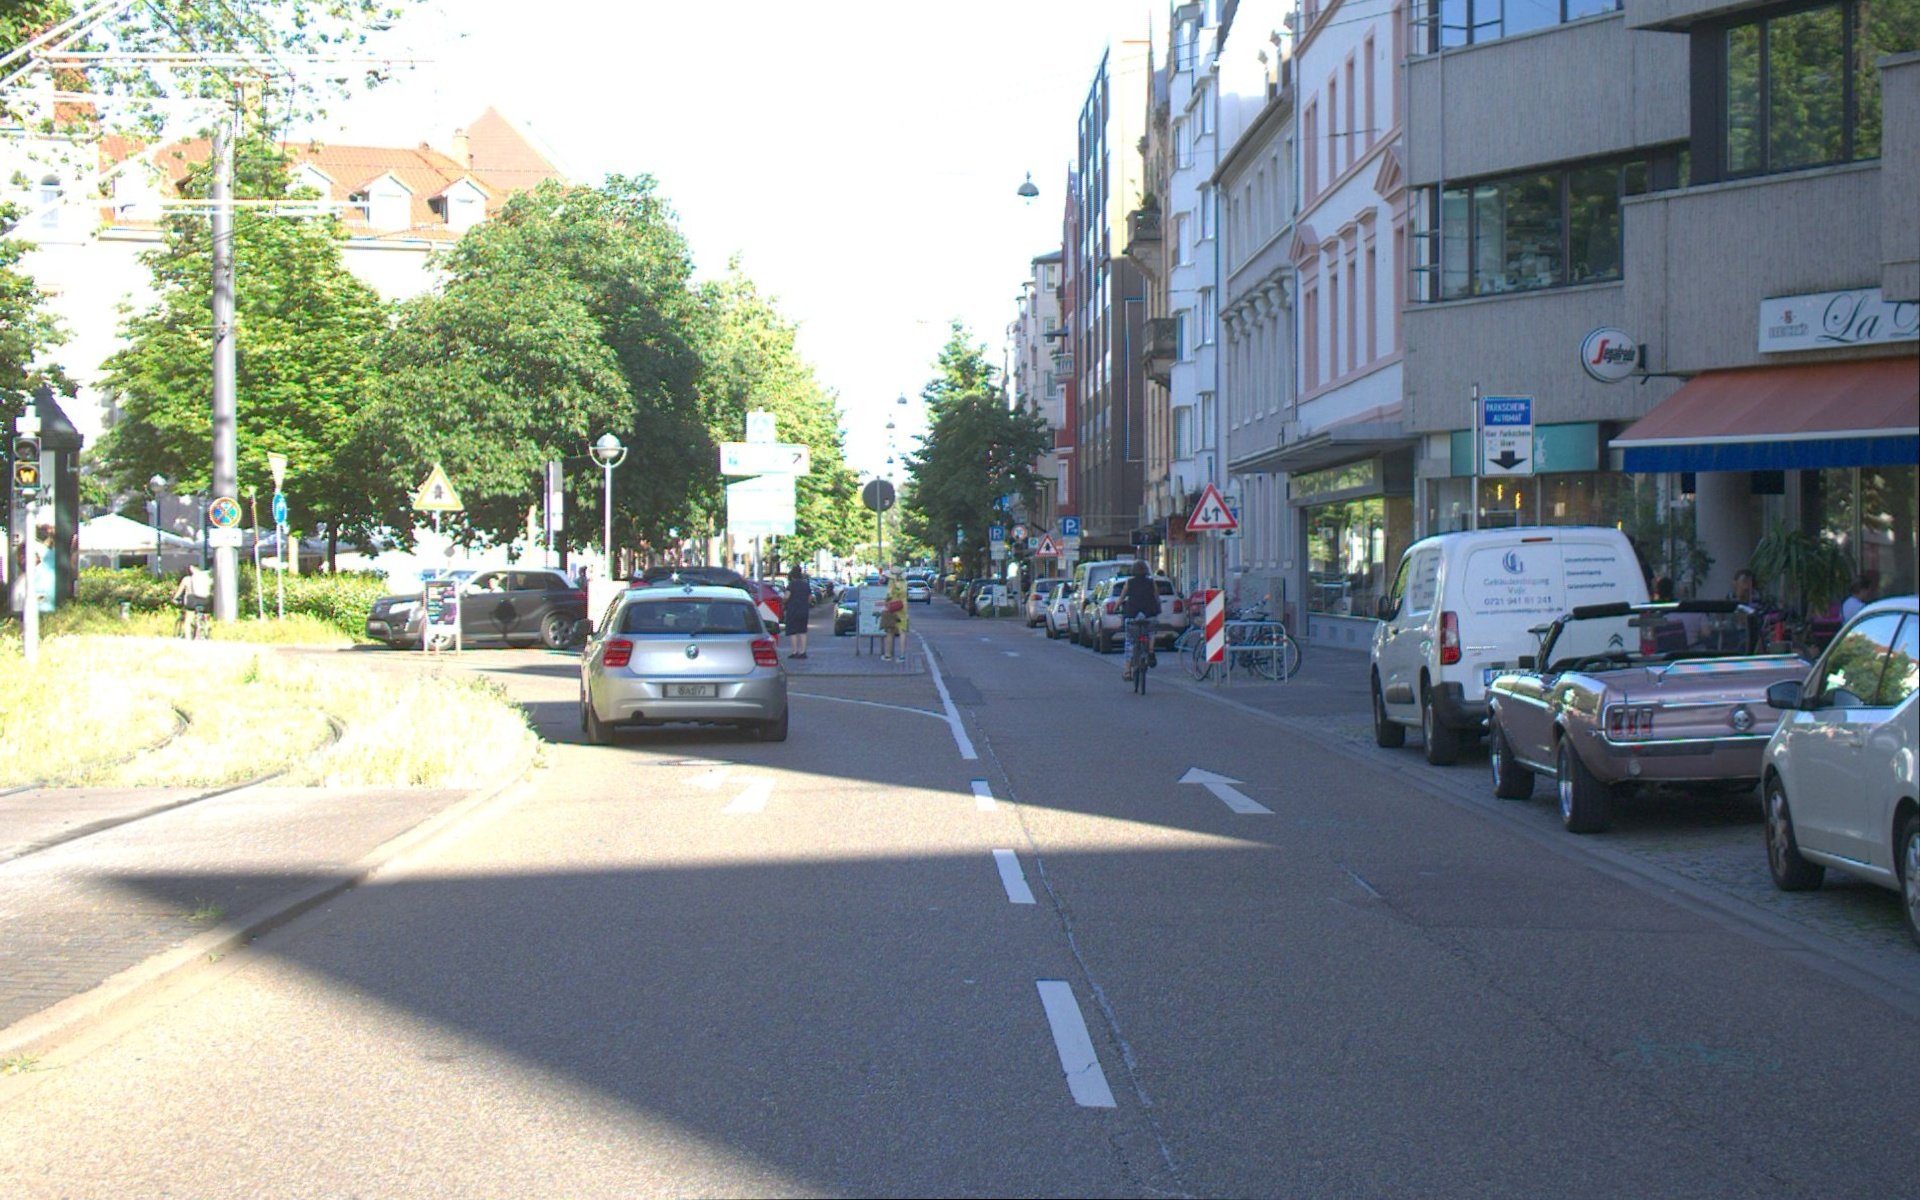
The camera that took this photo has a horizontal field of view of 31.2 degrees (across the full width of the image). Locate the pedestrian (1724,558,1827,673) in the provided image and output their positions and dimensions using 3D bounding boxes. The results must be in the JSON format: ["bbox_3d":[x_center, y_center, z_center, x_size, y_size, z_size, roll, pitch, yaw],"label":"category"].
[{"bbox_3d":[9.347,0.174,39.421,0.841,1.288,0.831,-1,0,-13],"label":"pedestrian"}]

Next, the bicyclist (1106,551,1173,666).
[{"bbox_3d":[2.304,0.115,44.175,0.786,1.448,1.095,2,-1,1],"label":"bicyclist"}]

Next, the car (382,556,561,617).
[{"bbox_3d":[-15.763,-0.413,111.091,5.262,1.794,2.164,2,-1,-27],"label":"car"}]

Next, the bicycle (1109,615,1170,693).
[{"bbox_3d":[2.303,0.692,44.363,0.652,0.955,2.698,2,-1,1],"label":"bicycle"}]

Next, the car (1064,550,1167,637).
[{"bbox_3d":[3.678,-0.163,81.980,1.993,1.998,5.118,0,0,-2],"label":"car"}]

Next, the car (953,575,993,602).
[{"bbox_3d":[0.689,-0.629,186.286,1.993,1.448,4.000,1,0,-1],"label":"car"}]

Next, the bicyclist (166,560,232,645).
[{"bbox_3d":[-13.651,0.044,61.665,0.928,1.502,0.825,2,-1,-28],"label":"bicyclist"}]

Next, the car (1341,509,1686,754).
[{"bbox_3d":[4.435,0.263,28.199,1.993,1.806,4.309,2,-1,-1],"label":"car"}]

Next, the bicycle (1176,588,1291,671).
[{"bbox_3d":[4.162,0.445,52.261,1.623,1.239,0.658,0,-1,19],"label":"bicycle"}]

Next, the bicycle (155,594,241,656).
[{"bbox_3d":[-13.690,0.444,61.697,0.809,1.065,2.583,2,-1,-28],"label":"bicycle"}]

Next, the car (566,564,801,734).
[{"bbox_3d":[-2.600,0.446,31.931,1.993,1.418,4.197,2,-1,-6],"label":"car"}]

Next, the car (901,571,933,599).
[{"bbox_3d":[-2.592,-0.912,208.898,1.870,1.550,4.000,2,-1,0],"label":"car"}]

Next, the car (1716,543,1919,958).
[{"bbox_3d":[4.793,0.647,15.357,1.851,1.683,3.867,2,-1,-1],"label":"car"}]

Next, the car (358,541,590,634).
[{"bbox_3d":[-9.015,-0.220,63.805,3.858,1.676,1.812,0,0,-30],"label":"car"}]

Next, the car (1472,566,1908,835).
[{"bbox_3d":[4.416,0.587,21.509,1.774,1.449,4.730,2,-1,1],"label":"car"}]

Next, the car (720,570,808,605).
[{"bbox_3d":[-9.239,-0.581,162.399,3.987,1.503,1.894,2,0,0],"label":"car"}]

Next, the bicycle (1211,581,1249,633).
[{"bbox_3d":[6.366,0.163,80.968,0.483,1.182,1.718,-2,-2,17],"label":"bicycle"}]

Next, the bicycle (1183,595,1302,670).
[{"bbox_3d":[4.149,0.480,50.432,1.680,1.058,0.343,1,-1,15],"label":"bicycle"}]

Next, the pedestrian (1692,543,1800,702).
[{"bbox_3d":[8.596,0.241,37.601,0.841,1.704,0.720,-2,1,-29],"label":"pedestrian"}]

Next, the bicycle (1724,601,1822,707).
[{"bbox_3d":[8.194,0.540,34.708,0.563,1.031,1.644,2,-1,0],"label":"bicycle"}]

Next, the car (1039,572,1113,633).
[{"bbox_3d":[3.068,0.081,91.398,1.718,1.510,3.583,-2,-1,-1],"label":"car"}]

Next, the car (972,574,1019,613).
[{"bbox_3d":[1.592,-0.287,153.923,1.993,1.612,4.010,2,-1,1],"label":"car"}]

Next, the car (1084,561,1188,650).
[{"bbox_3d":[3.615,0.132,71.382,1.745,1.733,4.960,2,-1,-1],"label":"car"}]

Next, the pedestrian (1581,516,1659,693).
[{"bbox_3d":[7.038,0.053,36.698,0.671,1.850,0.610,-2,-1,2],"label":"pedestrian"}]

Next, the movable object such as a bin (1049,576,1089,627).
[{"bbox_3d":[3.252,0.048,102.187,1.073,1.452,1.492,-2,1,4],"label":"movable object such as a bin"}]

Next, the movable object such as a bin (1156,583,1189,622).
[{"bbox_3d":[6.286,0.066,101.784,0.876,1.119,0.828,2,-1,-1],"label":"movable object such as a bin"}]

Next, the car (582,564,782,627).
[{"bbox_3d":[-7.216,-0.106,89.361,4.833,1.483,1.765,2,-1,-24],"label":"car"}]

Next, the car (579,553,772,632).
[{"bbox_3d":[-6.473,-0.176,78.023,3.985,1.662,2.001,2,0,-17],"label":"car"}]

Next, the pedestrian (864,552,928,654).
[{"bbox_3d":[-1.080,0.054,58.122,0.668,1.693,0.804,2,-1,-44],"label":"pedestrian"}]

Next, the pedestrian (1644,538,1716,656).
[{"bbox_3d":[7.686,-0.024,36.716,0.630,1.232,0.624,-2,-1,2],"label":"pedestrian"}]

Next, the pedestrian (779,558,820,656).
[{"bbox_3d":[-2.762,0.119,59.172,0.636,1.666,0.692,1,-1,0],"label":"pedestrian"}]

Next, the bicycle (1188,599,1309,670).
[{"bbox_3d":[4.258,0.505,50.799,1.705,1.001,0.427,1,-1,15],"label":"bicycle"}]

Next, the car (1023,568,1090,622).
[{"bbox_3d":[3.147,-0.143,112.731,1.899,1.669,4.825,2,-1,-1],"label":"car"}]
